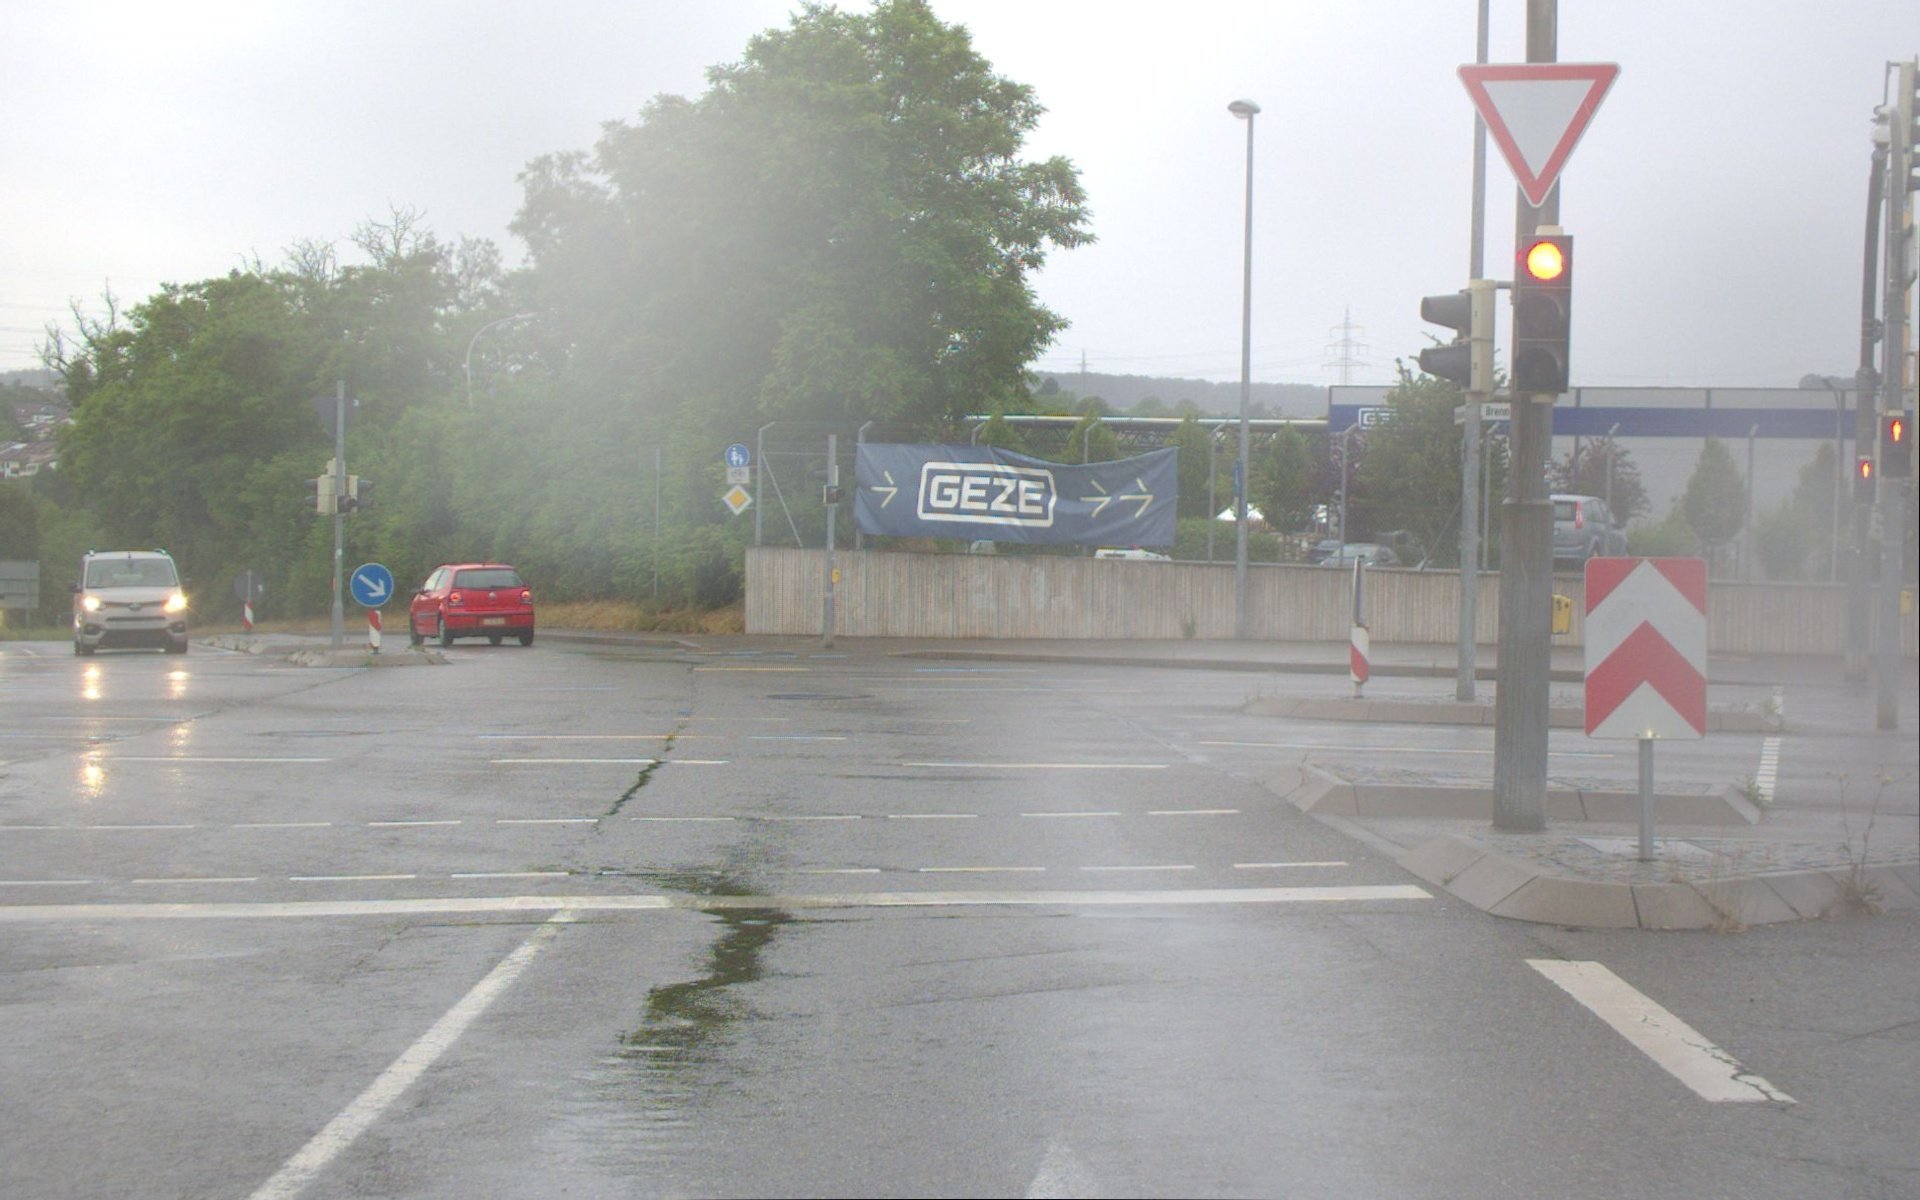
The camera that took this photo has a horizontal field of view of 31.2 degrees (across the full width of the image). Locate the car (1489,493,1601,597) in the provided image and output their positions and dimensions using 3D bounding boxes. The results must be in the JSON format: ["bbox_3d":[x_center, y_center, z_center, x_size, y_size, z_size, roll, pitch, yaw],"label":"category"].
[{"bbox_3d":[11.763,-1.113,68.953,1.995,2.007,3.998,1,1,12],"label":"car"}]

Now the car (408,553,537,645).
[{"bbox_3d":[-8.686,-0.036,61.055,1.614,1.444,3.808,1,2,-18],"label":"car"}]

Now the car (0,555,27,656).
[{"bbox_3d":[-19.576,0.069,67.518,1.993,1.888,4.001,1,1,-9],"label":"car"}]

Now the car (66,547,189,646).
[{"bbox_3d":[-14.397,-0.088,59.481,1.993,1.612,4.001,0,1,-14],"label":"car"}]
